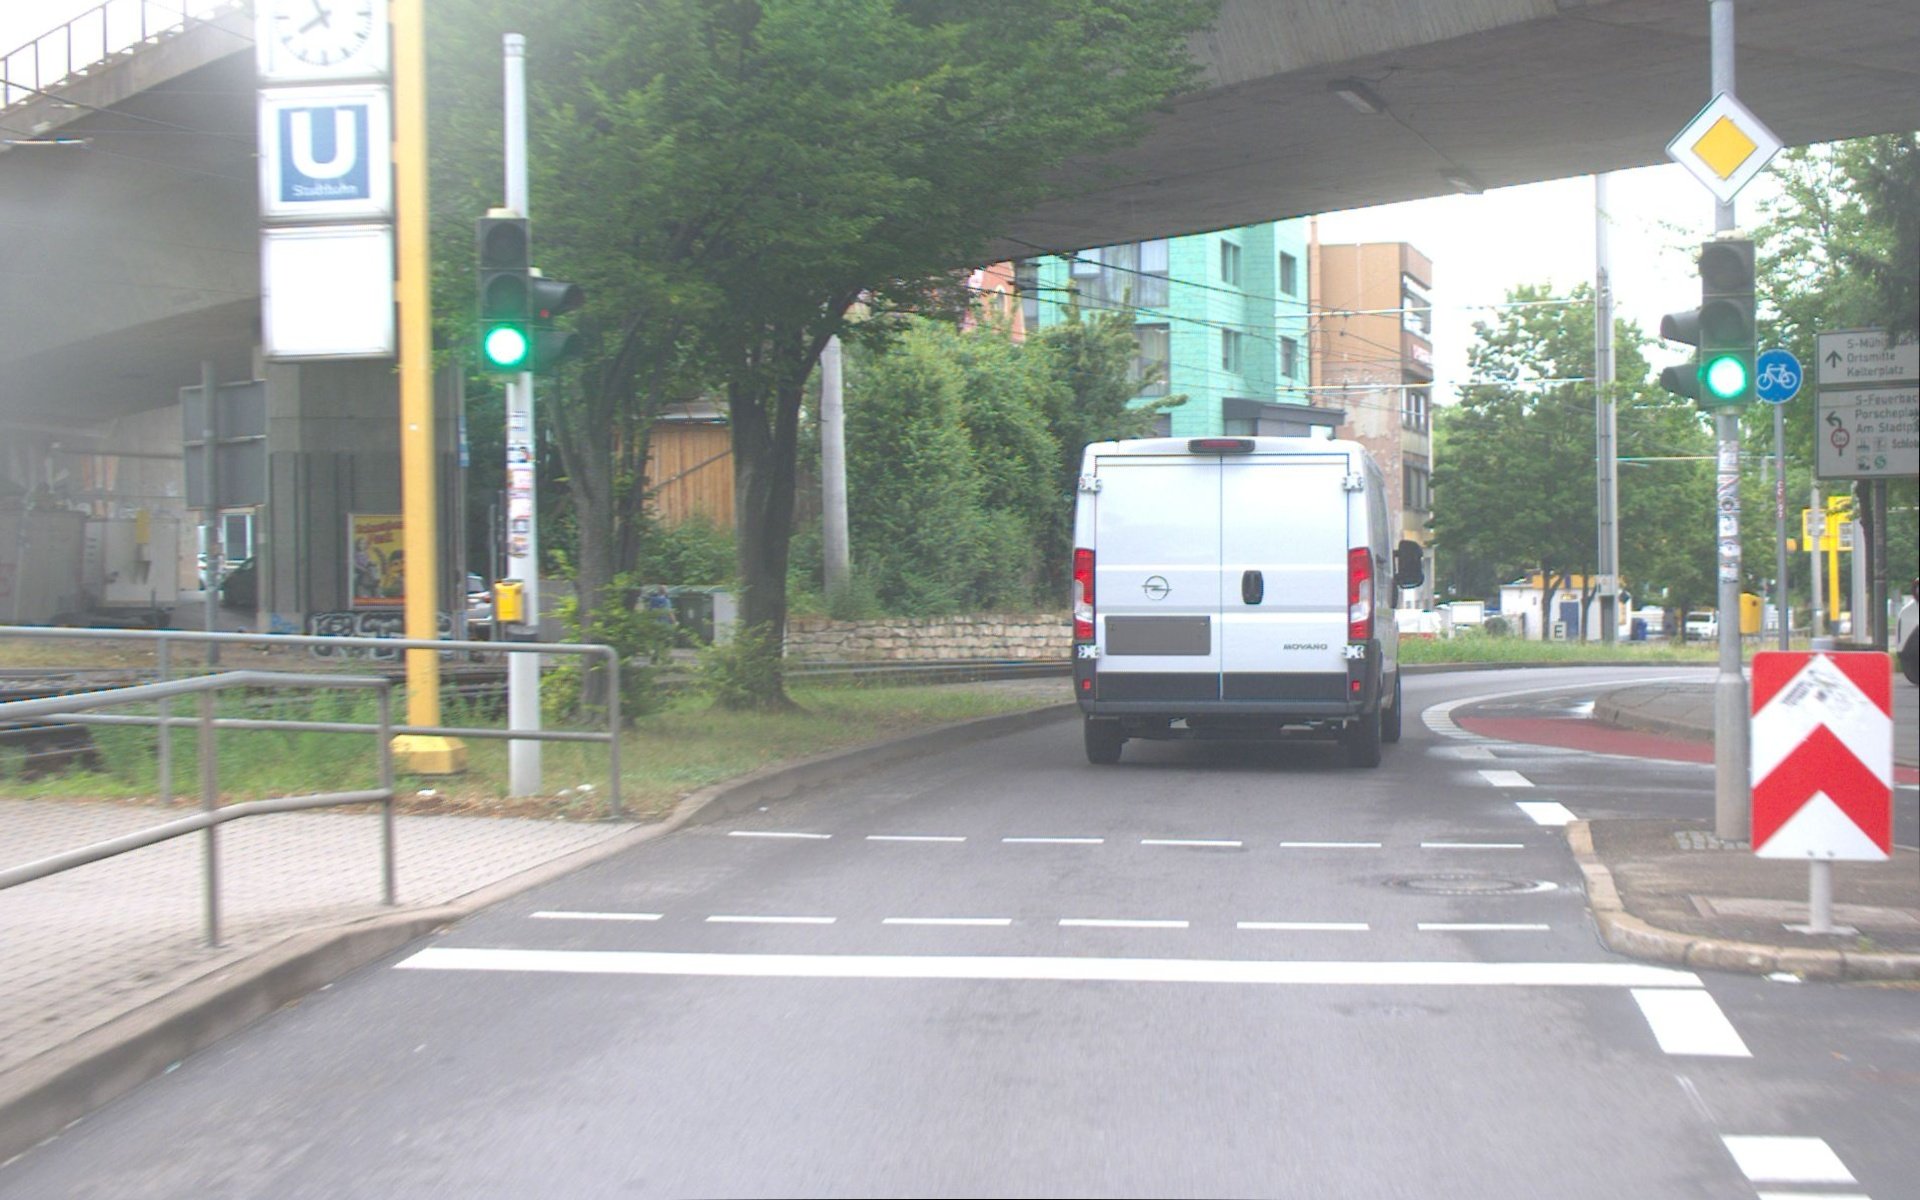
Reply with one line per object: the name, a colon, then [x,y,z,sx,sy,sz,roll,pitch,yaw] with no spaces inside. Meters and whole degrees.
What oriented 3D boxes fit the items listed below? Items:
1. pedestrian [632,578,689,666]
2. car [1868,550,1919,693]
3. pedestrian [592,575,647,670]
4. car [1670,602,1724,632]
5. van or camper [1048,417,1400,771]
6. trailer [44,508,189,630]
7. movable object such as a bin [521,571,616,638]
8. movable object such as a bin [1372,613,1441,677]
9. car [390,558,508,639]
pedestrian: [-5.752,0.421,66.022,0.694,1.664,0.886,1,0,28]
car: [11.773,0.237,37.255,3.724,1.517,1.802,0,0,-36]
pedestrian: [-6.596,0.428,66.666,0.694,1.824,0.865,1,0,25]
car: [38.102,0.878,177.669,1.996,1.437,3.995,2,0,23]
van or camper: [2.023,-0.030,24.863,2.199,2.245,4.682,2,0,8]
trailer: [-19.523,-0.704,79.456,1.993,2.716,4.123,1,0,-32]
movable object such as a bin: [-9.043,0.097,79.373,1.556,1.474,1.802,1,1,-30]
movable object such as a bin: [16.034,1.610,123.468,2.135,2.149,1.801,2,1,16]
car: [-11.815,-0.046,79.379,1.713,1.662,3.199,2,1,-27]
